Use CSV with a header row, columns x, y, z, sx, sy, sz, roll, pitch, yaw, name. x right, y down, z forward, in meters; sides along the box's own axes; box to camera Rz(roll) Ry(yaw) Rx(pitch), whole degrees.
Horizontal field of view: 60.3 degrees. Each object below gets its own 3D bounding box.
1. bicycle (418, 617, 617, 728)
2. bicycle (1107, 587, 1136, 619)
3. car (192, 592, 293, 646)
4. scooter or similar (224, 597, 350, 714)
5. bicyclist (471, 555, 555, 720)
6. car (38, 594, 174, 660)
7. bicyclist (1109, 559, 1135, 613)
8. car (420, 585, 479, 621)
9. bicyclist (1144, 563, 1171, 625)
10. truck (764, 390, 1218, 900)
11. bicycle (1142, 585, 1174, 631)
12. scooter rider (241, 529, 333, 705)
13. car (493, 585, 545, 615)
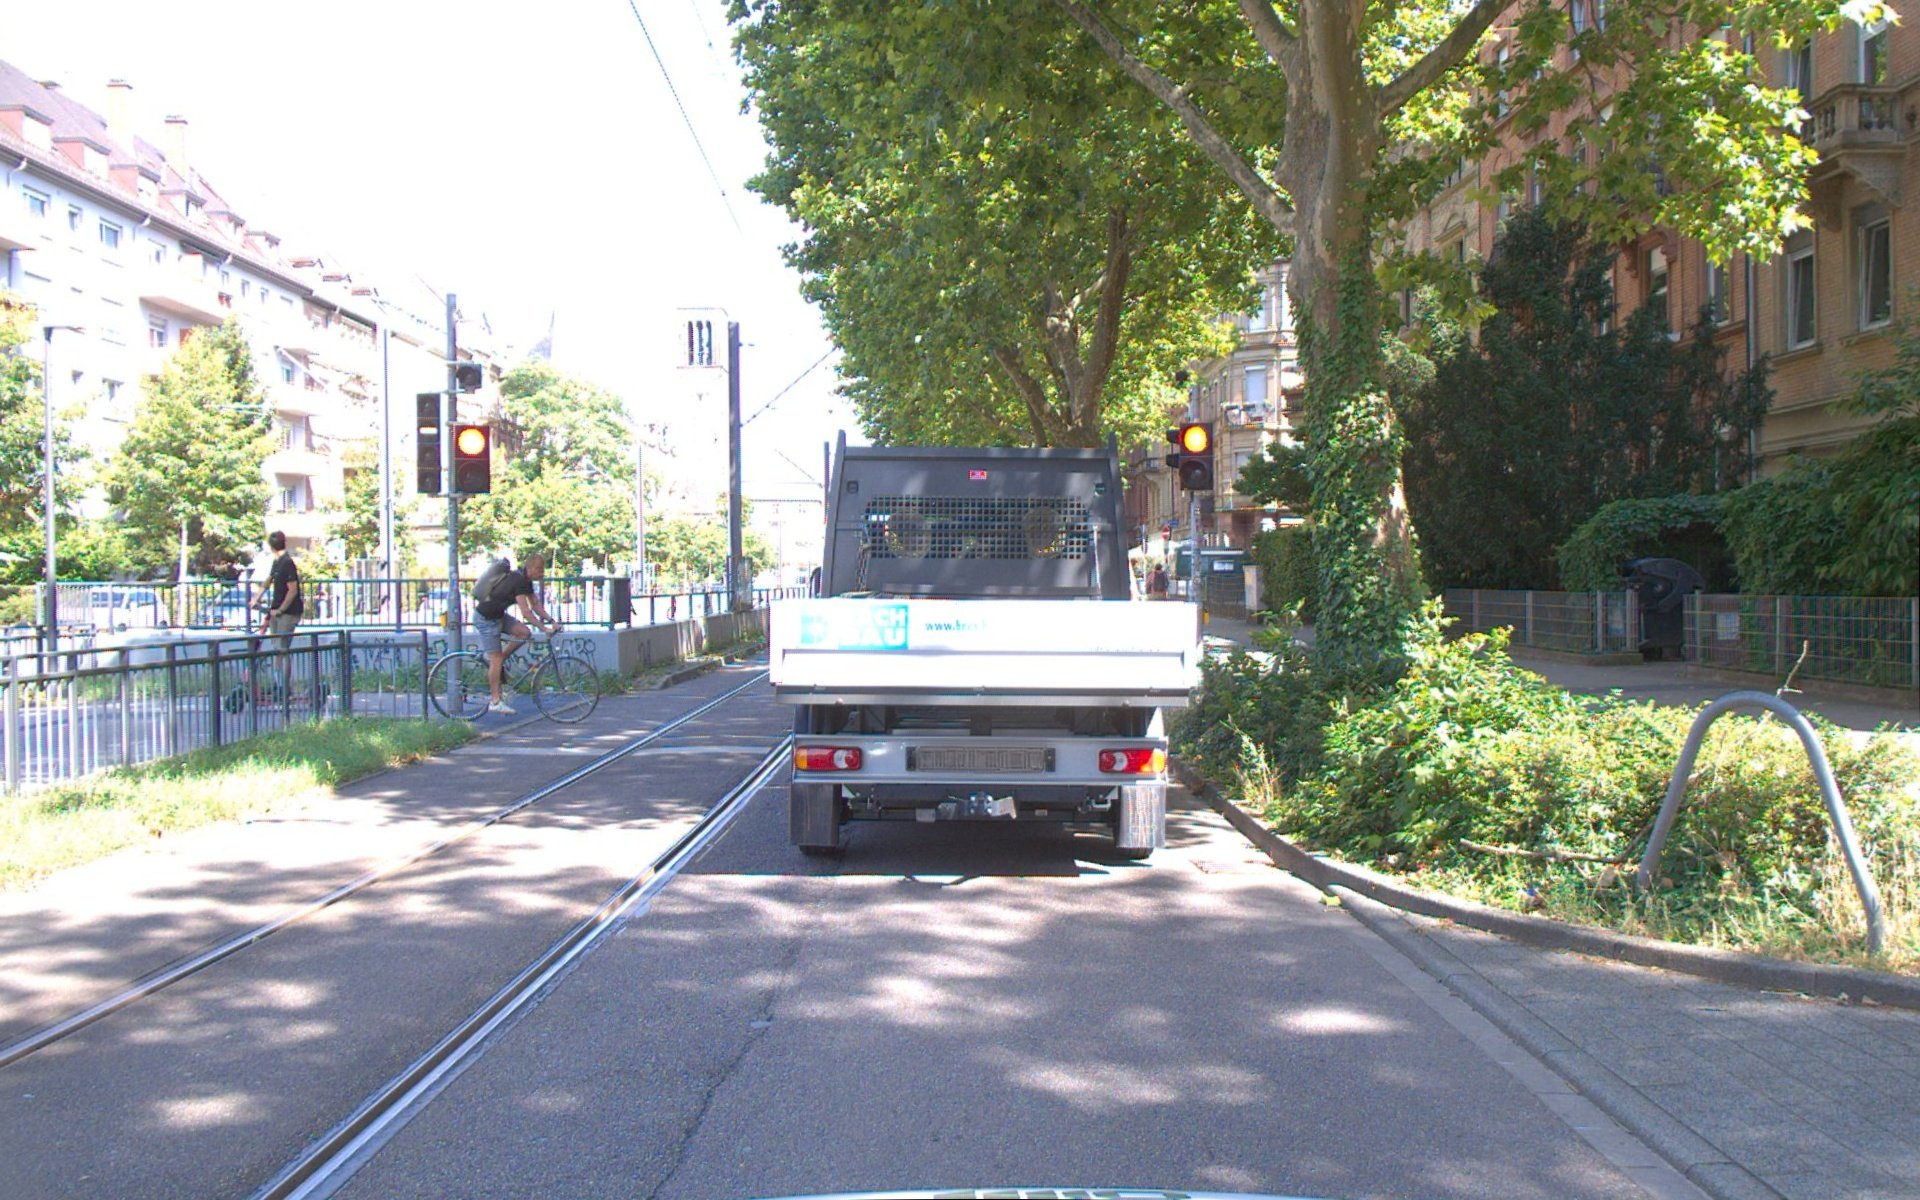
x,y,z,sx,sy,sz,roll,pitch,yaw,name
-4.547,0.742,17.070,1.882,1.067,0.532,2,0,-4,bicycle
4.825,0.082,49.405,0.661,0.897,2.163,-1,1,0,bicycle
-22.218,0.554,51.369,1.737,1.524,3.995,-2,1,-6,car
-7.425,0.594,18.298,0.641,1.225,1.272,-1,1,14,scooter or similar
-4.609,0.374,17.070,0.679,1.651,0.624,2,0,-4,bicyclist
-22.009,0.647,42.794,1.737,1.524,3.995,-2,1,-6,car
4.818,-0.413,49.258,0.666,1.590,0.777,-1,0,0,bicyclist
-22.507,0.124,73.006,1.737,1.524,3.995,-1,1,-7,car
5.102,-0.154,42.793,0.625,1.601,0.579,-1,0,0,bicyclist
0.150,0.188,9.987,2.094,2.359,4.401,1,1,0,truck
5.115,0.200,42.816,0.553,1.131,2.310,-1,1,0,bicycle
-7.433,0.180,18.283,0.648,1.899,0.669,-1,0,14,scooter rider
-22.988,-0.022,86.362,1.735,1.524,3.998,-1,1,-2,car
